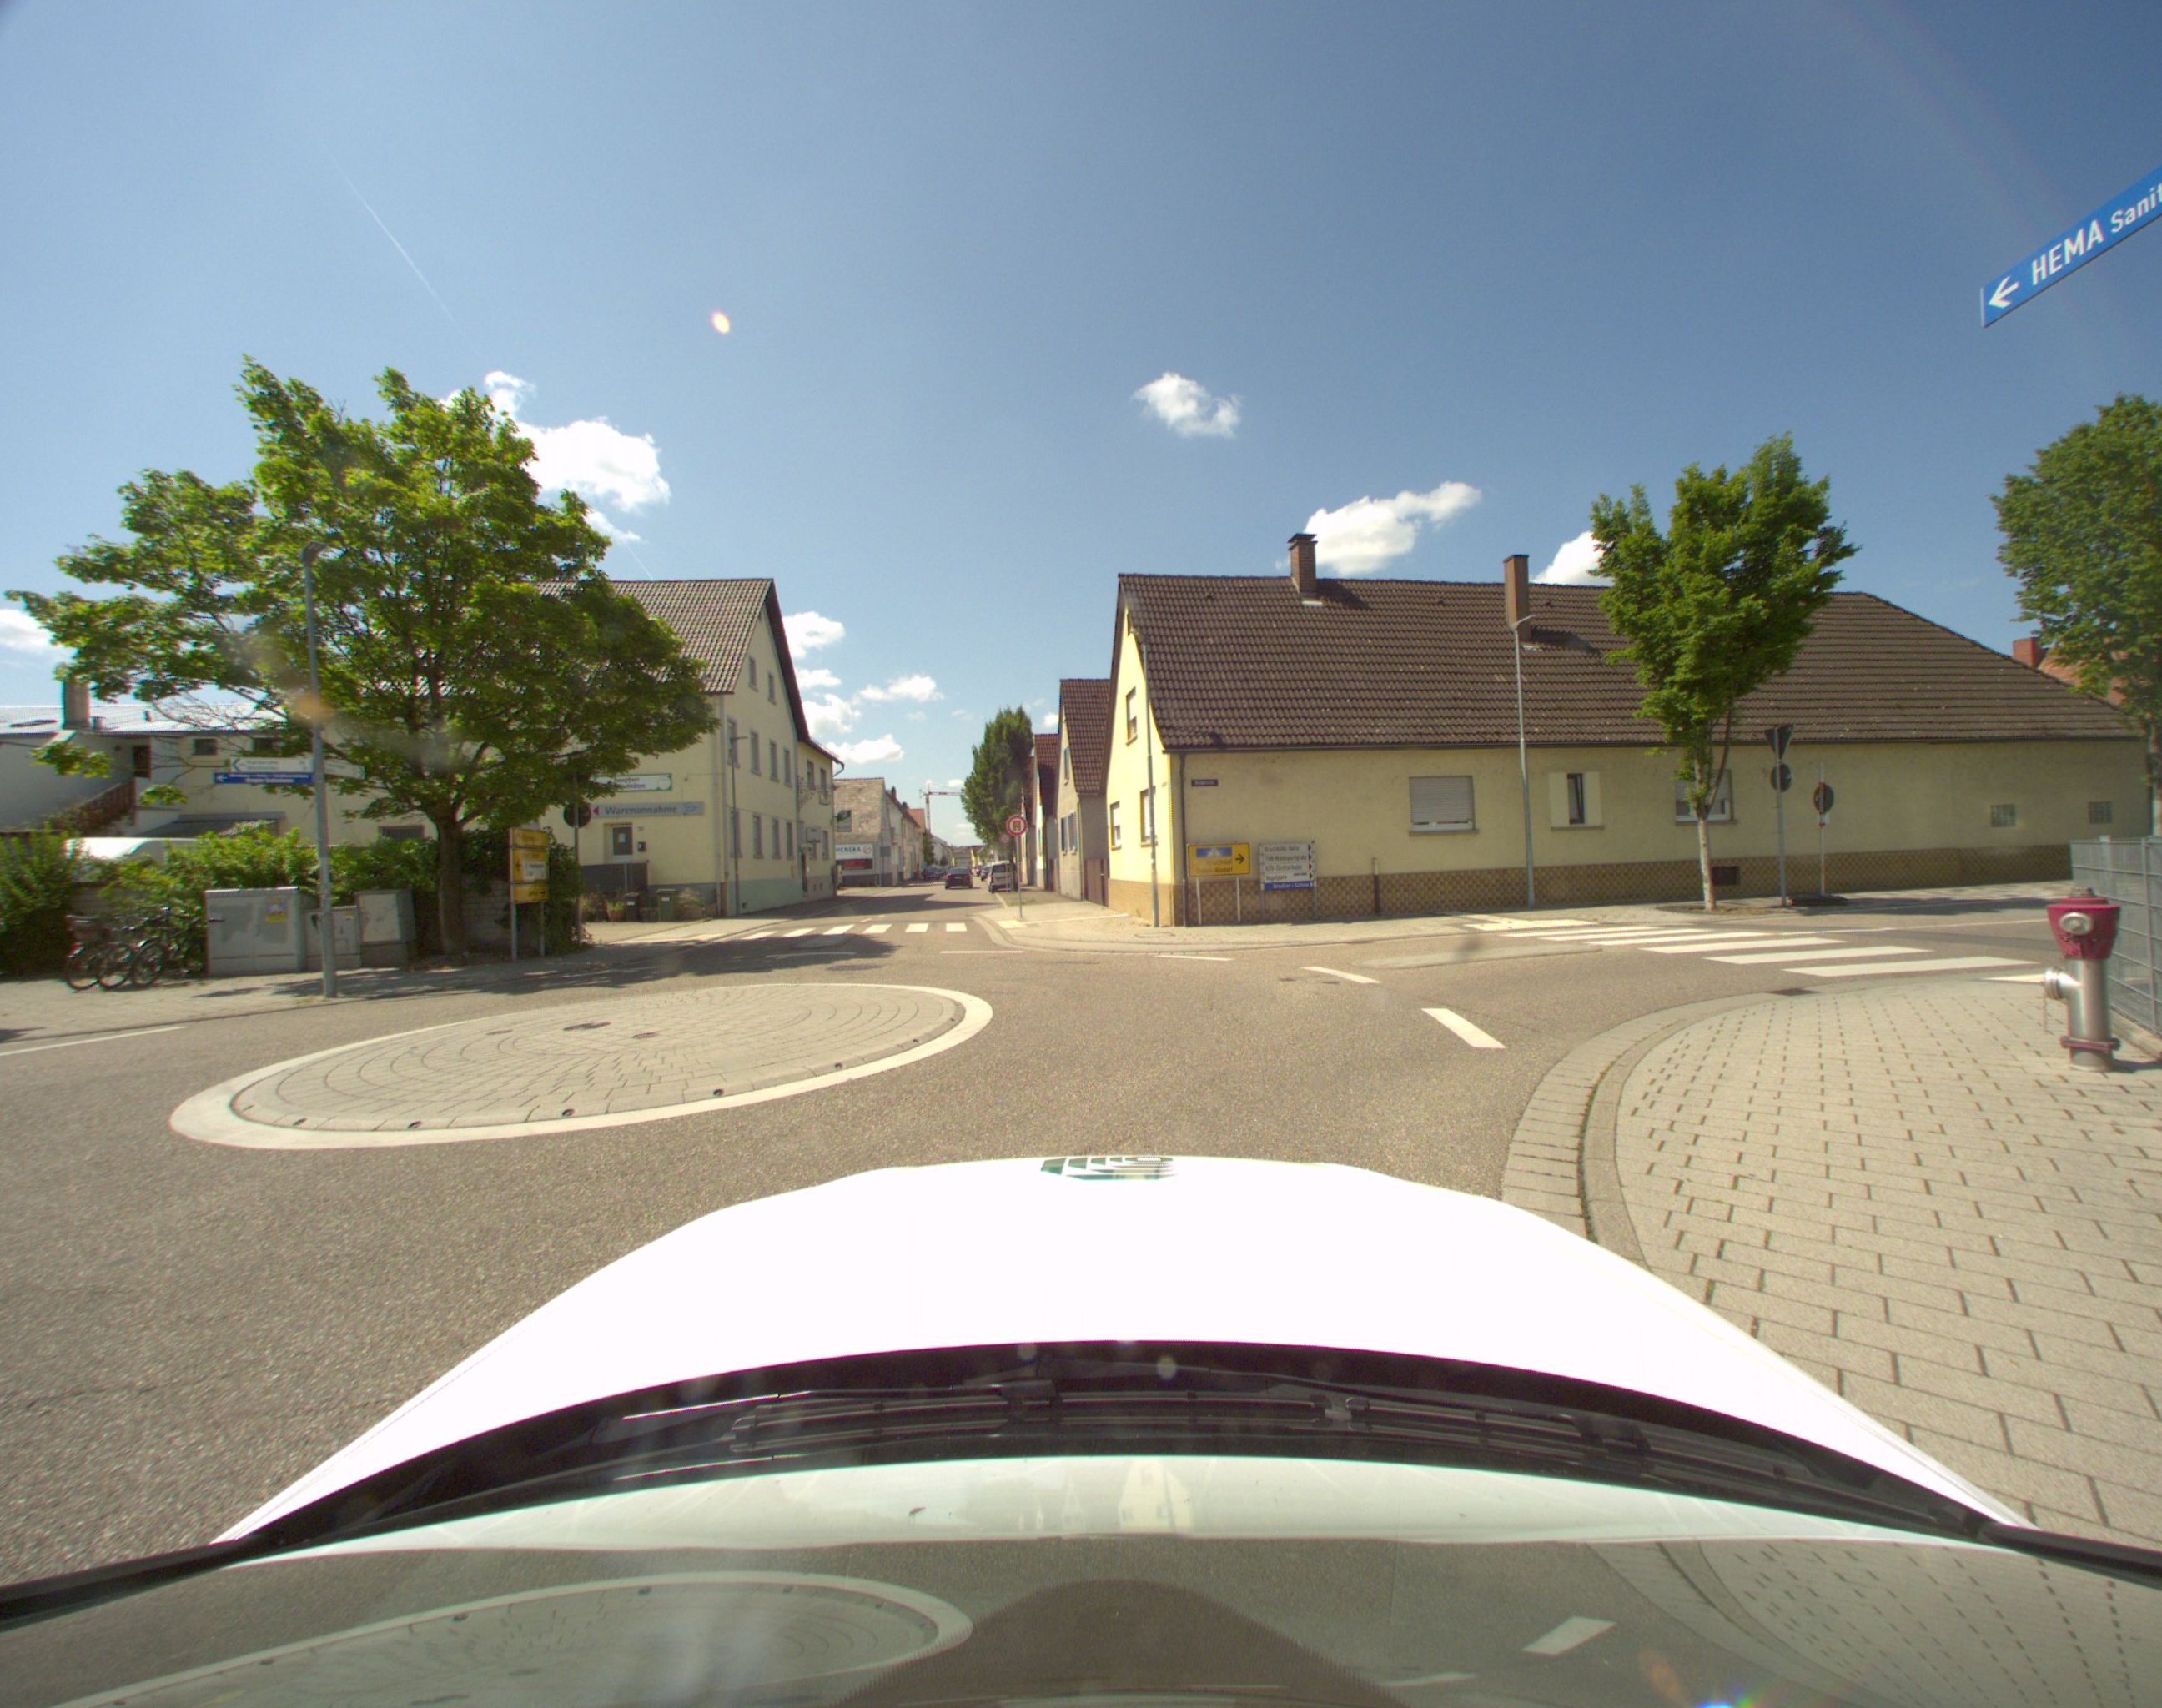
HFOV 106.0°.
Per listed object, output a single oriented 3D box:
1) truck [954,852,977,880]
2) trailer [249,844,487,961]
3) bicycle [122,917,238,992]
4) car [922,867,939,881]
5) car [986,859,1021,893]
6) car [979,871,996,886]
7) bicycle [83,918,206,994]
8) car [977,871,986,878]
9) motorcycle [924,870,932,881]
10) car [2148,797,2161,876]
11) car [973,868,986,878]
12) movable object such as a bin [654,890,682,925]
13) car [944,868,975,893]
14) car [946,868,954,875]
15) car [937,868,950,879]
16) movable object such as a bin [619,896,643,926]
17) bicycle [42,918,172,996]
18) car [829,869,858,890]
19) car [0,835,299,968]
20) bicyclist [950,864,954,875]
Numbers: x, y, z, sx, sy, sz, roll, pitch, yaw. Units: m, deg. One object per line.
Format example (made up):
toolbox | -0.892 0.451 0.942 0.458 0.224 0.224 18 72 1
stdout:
truck | -17.684 1.888 125.305 3.141 4.251 9.280 0 -1 -6
trailer | -16.067 1.009 18.755 1.877 2.335 4.512 -1 -1 -7
bicycle | -15.247 1.666 13.850 0.401 1.003 1.969 -2 1 -20
car | -18.024 2.339 97.872 1.808 1.589 3.988 -1 -1 -8
car | -4.664 1.281 48.364 1.719 1.790 4.130 -3 0 -9
car | -9.665 2.507 84.587 1.717 1.461 4.147 -2 -1 -6
bicycle | -15.678 1.667 13.701 0.401 1.003 1.969 -2 1 -20
car | -19.767 4.057 160.945 1.718 1.269 4.145 -1 -1 -8
motorcycle | -17.654 2.466 94.038 0.846 1.170 2.461 0 -1 -9
car | 29.105 -0.518 19.834 4.465 1.938 1.993 -2 0 -11
car | -14.080 2.652 112.556 1.718 1.355 4.145 -1 -1 -8
movable object such as a bin | -13.576 1.756 26.774 0.599 1.079 0.657 -2 -1 -6
car | -8.418 1.796 56.761 1.900 1.564 4.466 -2 -1 -7
car | -30.782 4.058 191.892 1.808 1.589 3.988 -1 -1 -8
car | -20.618 2.910 122.535 1.808 1.589 3.988 -1 -1 -8
movable object such as a bin | -14.621 1.849 26.482 0.478 0.928 0.546 -2 -1 -6
bicycle | -16.095 1.666 13.523 0.401 1.003 1.969 -2 1 -20
car | -18.474 1.956 63.466 1.719 1.556 4.185 0 -1 -9
car | -21.303 0.958 18.607 1.935 2.567 5.633 -1 -1 -7
bicyclist | -23.200 2.749 146.517 0.740 2.059 0.841 0 -2 -11
